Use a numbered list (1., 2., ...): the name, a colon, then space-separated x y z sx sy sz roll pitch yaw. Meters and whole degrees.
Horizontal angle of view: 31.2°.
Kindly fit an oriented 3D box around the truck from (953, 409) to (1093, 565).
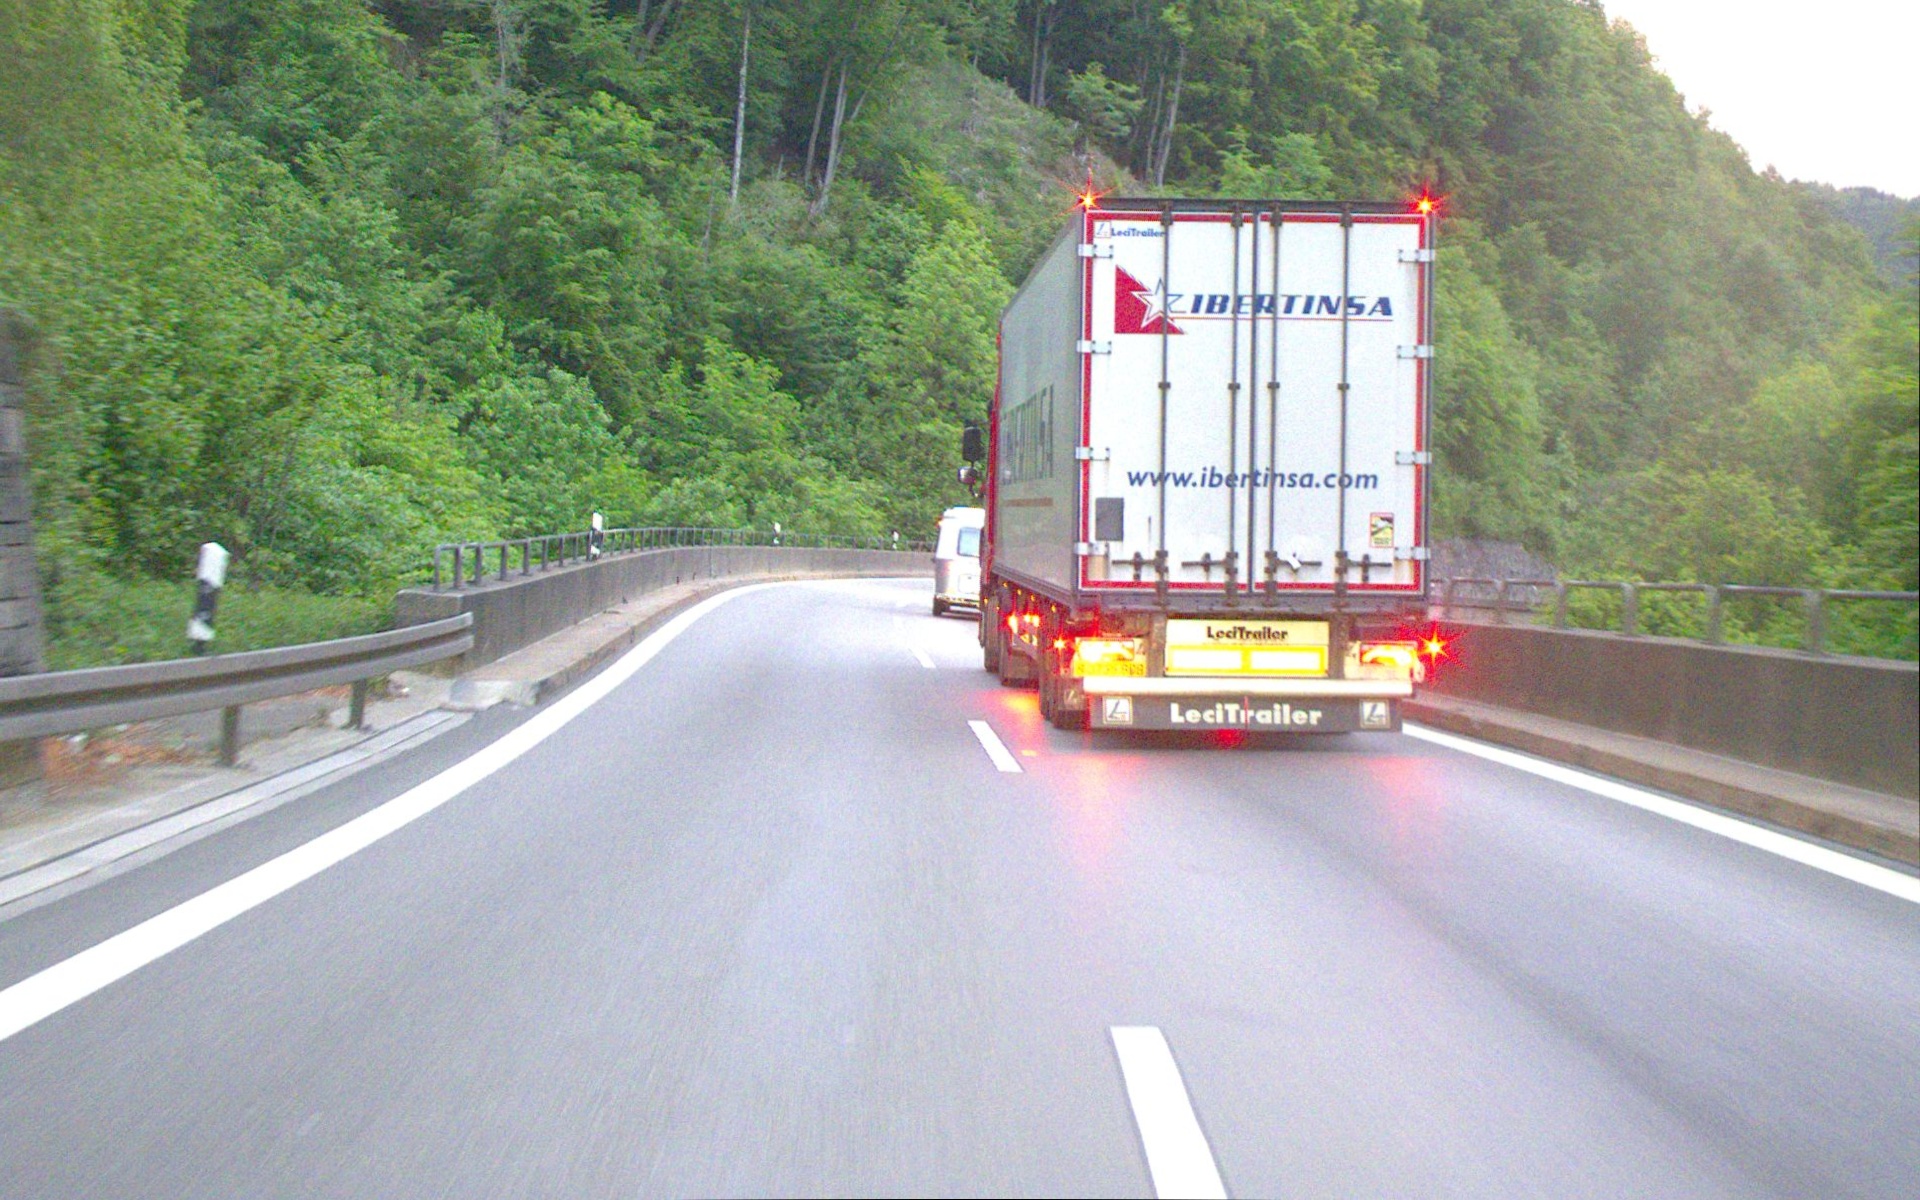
1. truck: 2.135 -3.347 107.696 3.295 4.159 16.500 3 0 4

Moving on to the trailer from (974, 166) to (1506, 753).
1. trailer: 2.000 -1.173 31.231 3.097 3.956 14.220 -3 2 -1

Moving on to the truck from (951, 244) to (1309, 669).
1. truck: 1.682 -1.496 37.429 3.069 4.130 6.448 2 1 -3

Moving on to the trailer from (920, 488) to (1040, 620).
1. trailer: 0.464 -1.016 71.280 2.055 2.366 5.938 6 2 2
